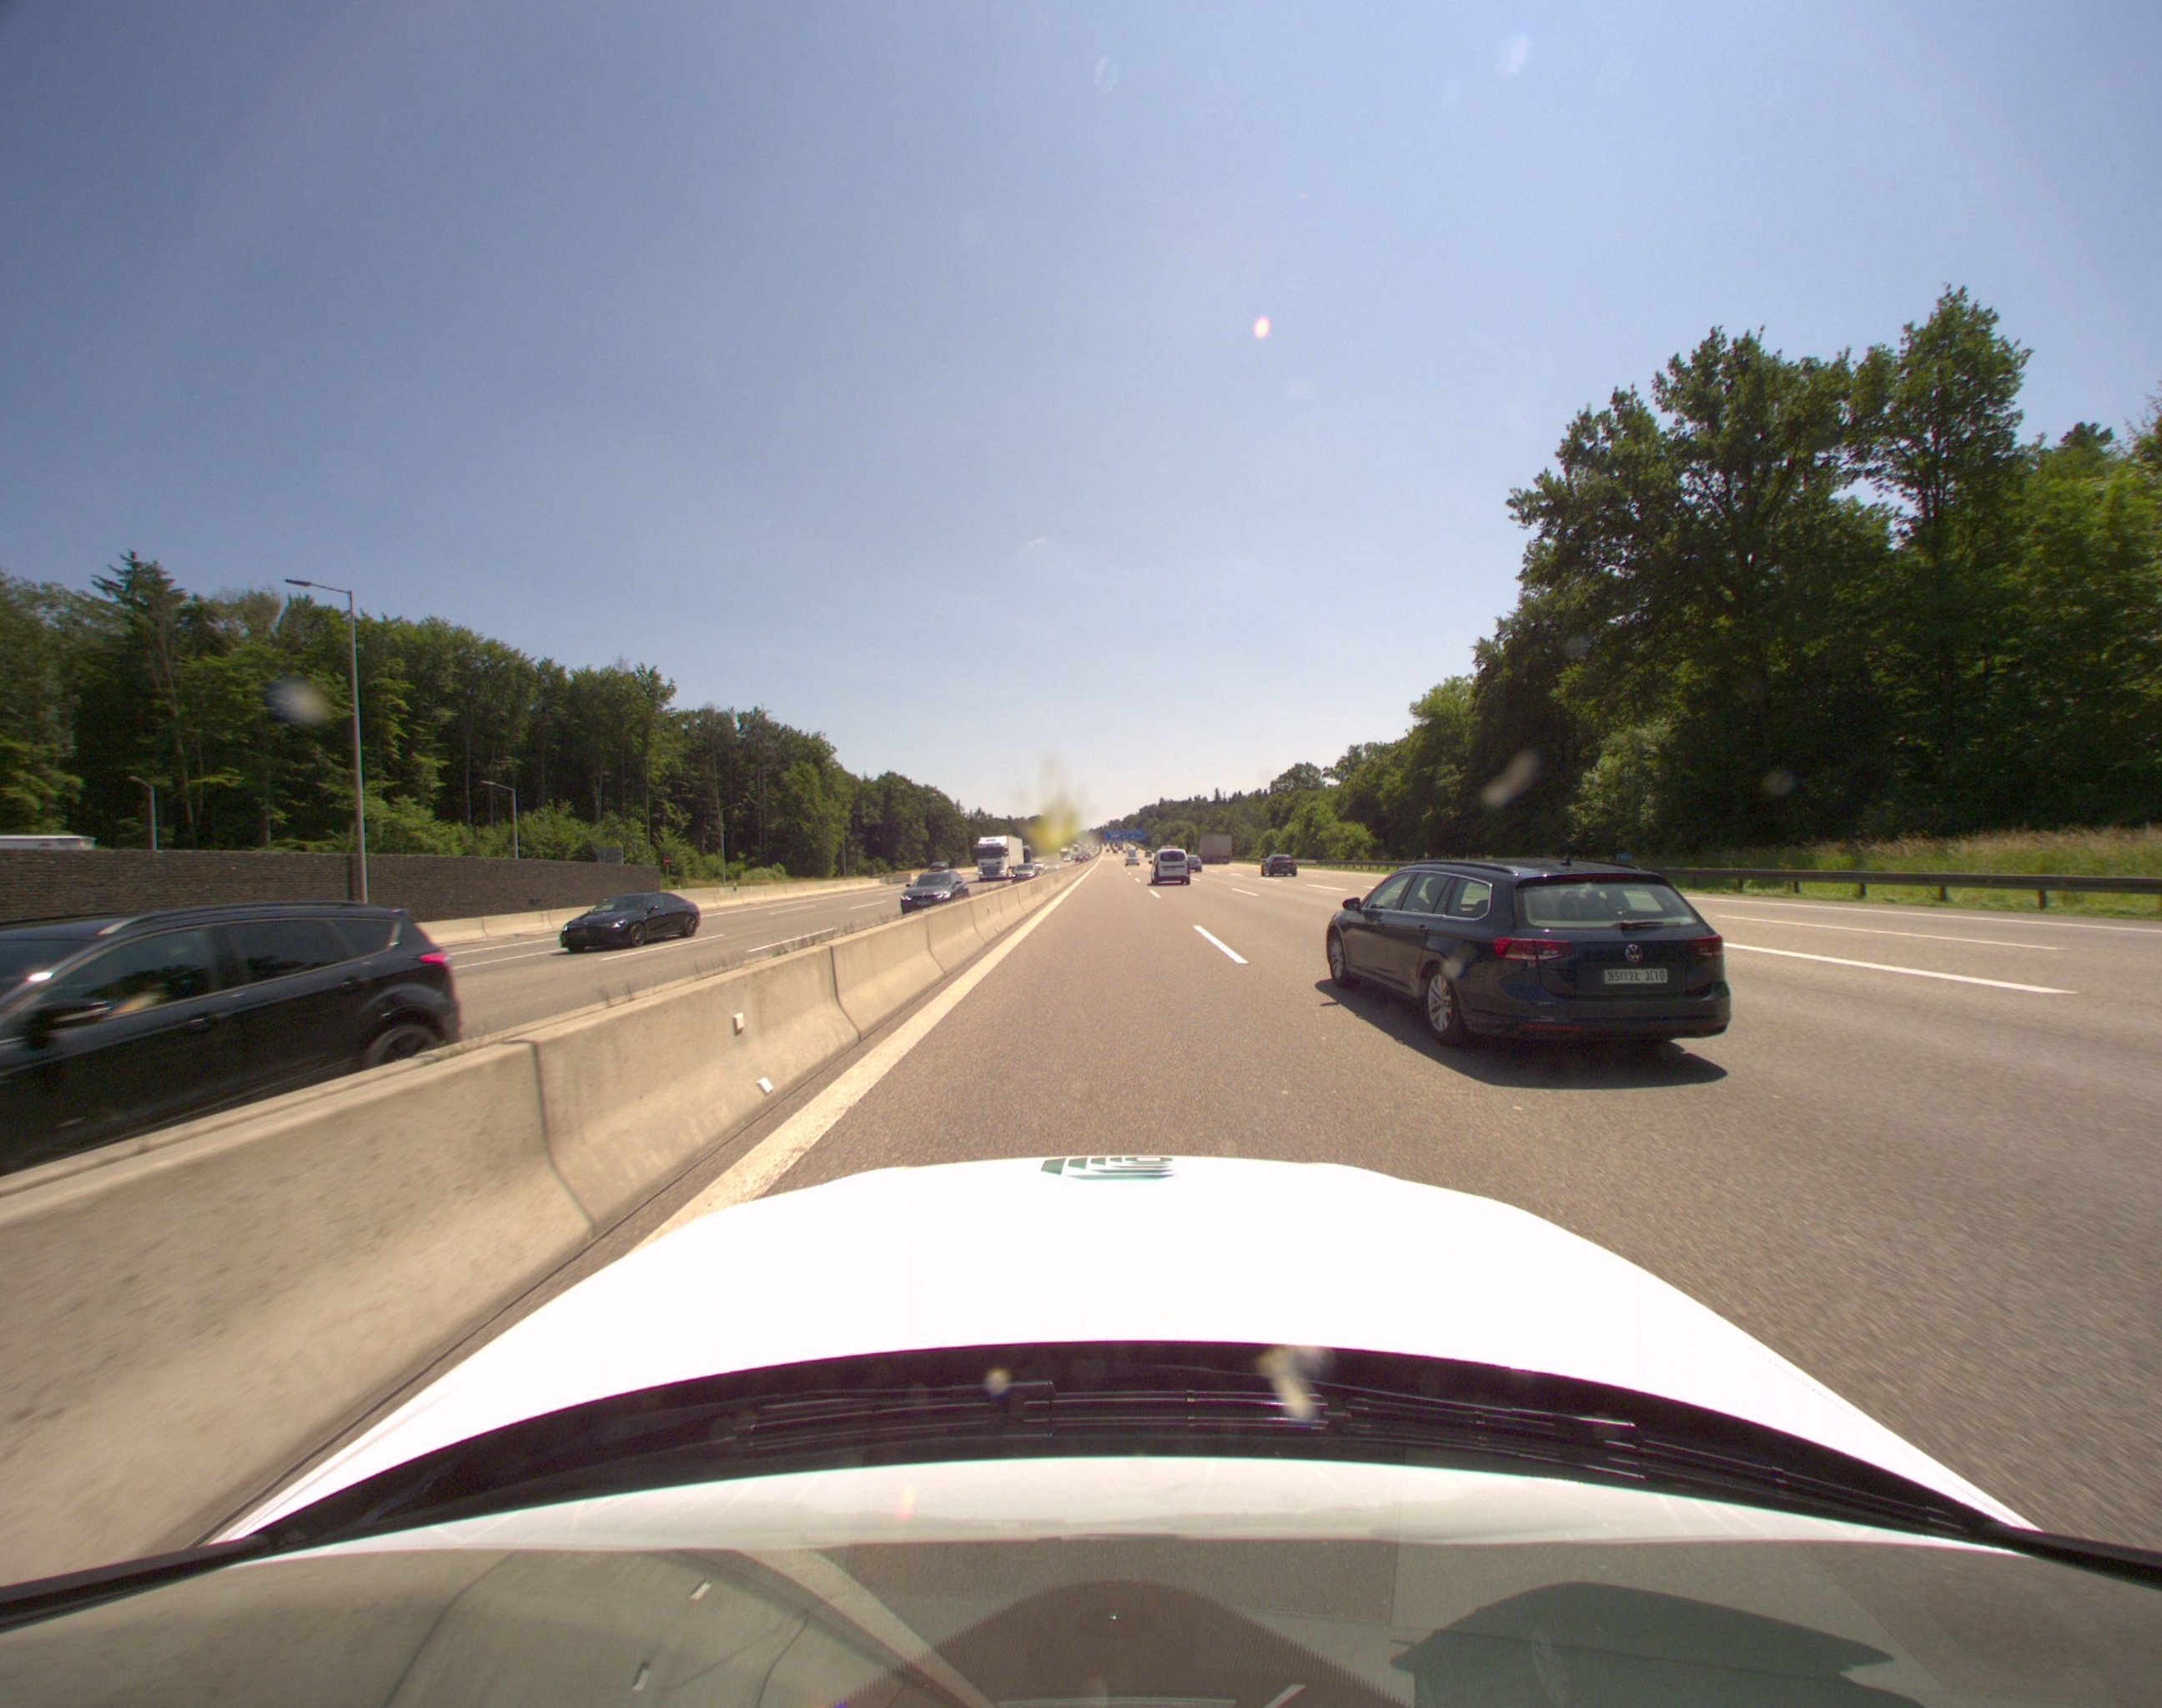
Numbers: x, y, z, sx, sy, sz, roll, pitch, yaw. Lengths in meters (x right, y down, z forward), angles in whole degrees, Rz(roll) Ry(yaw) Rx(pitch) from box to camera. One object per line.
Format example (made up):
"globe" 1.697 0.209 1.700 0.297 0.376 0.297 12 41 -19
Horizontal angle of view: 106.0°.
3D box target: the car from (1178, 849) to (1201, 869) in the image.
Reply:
"car" 9.176 0.421 69.052 1.498 1.500 3.651 -3 0 1

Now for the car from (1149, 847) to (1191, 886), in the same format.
"car" 4.573 0.624 42.370 1.852 1.825 4.615 -3 0 3

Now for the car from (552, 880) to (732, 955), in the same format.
"car" -12.321 1.700 23.435 1.987 1.621 5.753 -3 0 0

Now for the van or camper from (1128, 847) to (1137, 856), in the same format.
"van or camper" 15.459 -0.705 244.421 2.635 2.538 6.505 -3 0 2

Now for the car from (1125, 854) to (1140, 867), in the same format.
"car" 7.080 0.853 111.467 1.836 1.629 4.555 -3 0 2

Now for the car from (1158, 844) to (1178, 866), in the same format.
"car" 11.012 0.040 103.299 2.135 2.652 5.712 -2 1 2

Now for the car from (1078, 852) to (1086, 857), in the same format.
"car" 0.353 0.164 226.688 1.906 1.464 4.589 -2 -1 2

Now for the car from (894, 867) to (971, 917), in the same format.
"car" -5.320 1.317 29.775 1.865 1.547 4.591 -3 0 0

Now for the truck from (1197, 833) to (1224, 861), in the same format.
"truck" 19.306 -1.028 121.821 3.242 4.106 5.990 -1 1 2

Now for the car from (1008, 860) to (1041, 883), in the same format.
"car" -4.147 1.269 60.624 1.987 1.487 5.135 -3 0 0

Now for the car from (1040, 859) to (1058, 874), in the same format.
"car" -3.434 1.328 88.885 1.742 1.457 4.156 -3 0 0

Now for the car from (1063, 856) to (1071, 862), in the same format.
"car" -3.654 1.316 207.490 1.754 1.464 4.841 -2 0 2

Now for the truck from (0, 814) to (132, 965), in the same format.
"truck" -45.307 1.535 27.555 16.807 5.612 3.408 -2 0 -44

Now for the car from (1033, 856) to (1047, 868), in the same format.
"car" -5.880 1.137 115.994 1.717 1.506 4.460 -3 0 0

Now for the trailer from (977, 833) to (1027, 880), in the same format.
"trailer" -7.694 0.237 81.869 3.012 4.225 14.472 -3 0 2

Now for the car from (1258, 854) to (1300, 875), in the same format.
"car" 12.871 0.657 53.059 1.665 1.273 4.289 -1 0 0

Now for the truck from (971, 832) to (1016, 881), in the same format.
"truck" -7.933 0.201 74.626 3.036 4.136 6.951 -3 0 1

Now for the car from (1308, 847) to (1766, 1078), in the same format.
"car" 3.628 0.701 7.737 1.723 1.447 4.964 -2 0 2

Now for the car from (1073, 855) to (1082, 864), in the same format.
"car" -0.759 1.344 192.002 1.891 1.953 5.658 -3 0 2

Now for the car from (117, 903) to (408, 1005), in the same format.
"car" -17.461 2.044 17.750 1.987 1.621 4.214 -3 0 0

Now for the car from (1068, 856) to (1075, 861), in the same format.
"car" -2.800 1.248 237.878 1.906 1.464 4.589 -2 -1 2

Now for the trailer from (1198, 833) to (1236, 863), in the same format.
"trailer" 19.073 -0.878 115.247 3.276 3.930 13.895 -1 1 1

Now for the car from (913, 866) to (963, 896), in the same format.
"car" -8.531 1.569 49.063 1.987 1.487 5.018 -4 0 0

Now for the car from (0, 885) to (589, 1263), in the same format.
"car" -6.194 1.203 5.536 1.986 1.663 5.756 -4 0 1

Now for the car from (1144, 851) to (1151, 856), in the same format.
"car" 18.451 -0.077 225.319 1.829 1.338 3.644 -3 0 2

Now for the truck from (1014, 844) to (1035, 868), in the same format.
"truck" -9.238 0.327 134.036 2.568 3.841 7.019 -3 0 2
